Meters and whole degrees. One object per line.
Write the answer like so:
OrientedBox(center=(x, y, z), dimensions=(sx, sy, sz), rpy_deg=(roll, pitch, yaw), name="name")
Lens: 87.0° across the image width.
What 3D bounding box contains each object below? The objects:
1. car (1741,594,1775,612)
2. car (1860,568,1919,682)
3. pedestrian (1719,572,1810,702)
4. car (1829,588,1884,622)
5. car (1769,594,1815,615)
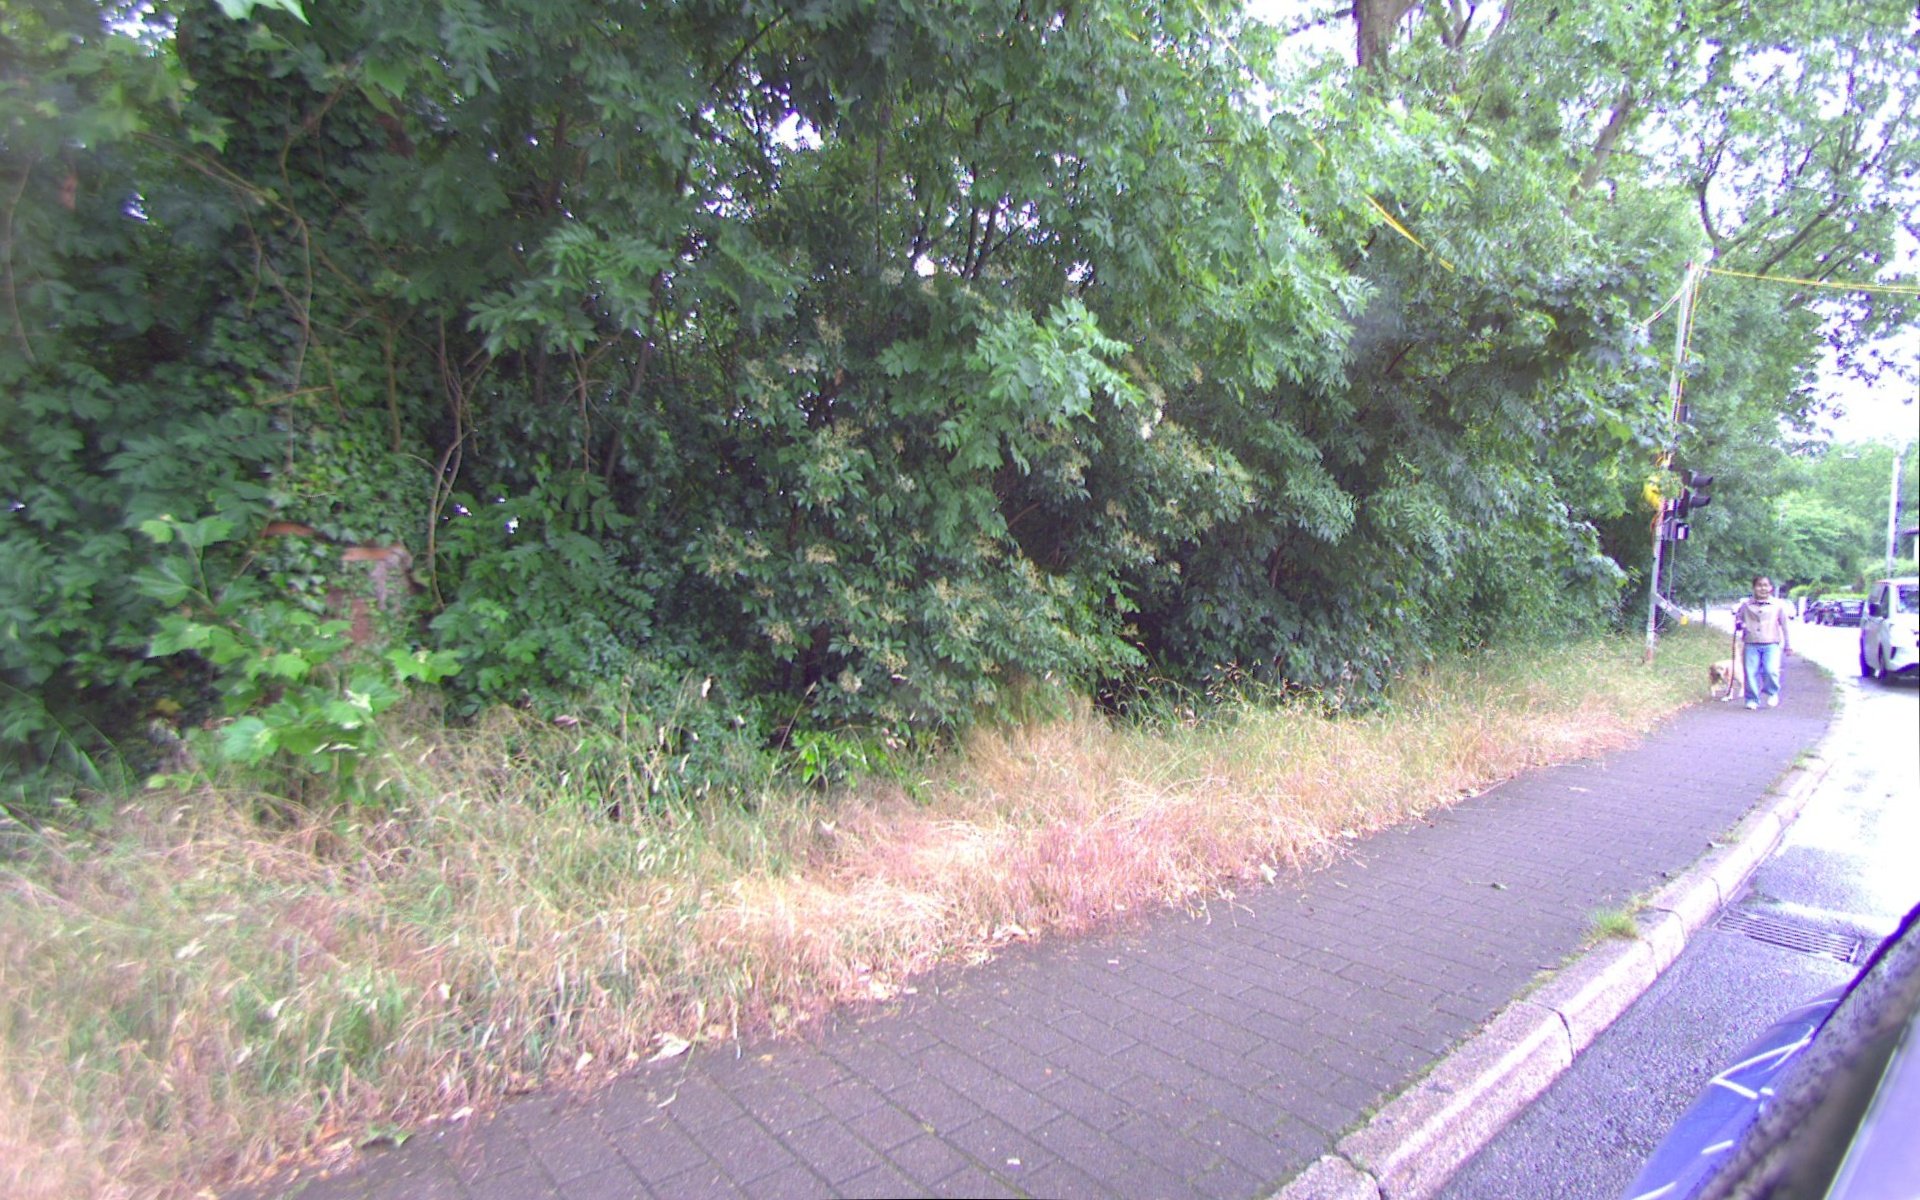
OrientedBox(center=(64.944, 0.220, 82.375), dimensions=(1.676, 1.445, 3.734), rpy_deg=(1, 1, 31), name="car")
OrientedBox(center=(18.441, 0.416, 18.817), dimensions=(2.091, 1.943, 5.023), rpy_deg=(0, 0, 37), name="car")
OrientedBox(center=(9.832, 0.420, 12.370), dimensions=(0.771, 1.518, 0.734), rpy_deg=(0, 1, -42), name="pedestrian")
OrientedBox(center=(51.062, 0.283, 57.710), dimensions=(1.869, 1.848, 4.075), rpy_deg=(1, 1, 35), name="car")
OrientedBox(center=(60.750, 0.298, 73.922), dimensions=(2.055, 1.504, 4.508), rpy_deg=(1, 1, 33), name="car")
